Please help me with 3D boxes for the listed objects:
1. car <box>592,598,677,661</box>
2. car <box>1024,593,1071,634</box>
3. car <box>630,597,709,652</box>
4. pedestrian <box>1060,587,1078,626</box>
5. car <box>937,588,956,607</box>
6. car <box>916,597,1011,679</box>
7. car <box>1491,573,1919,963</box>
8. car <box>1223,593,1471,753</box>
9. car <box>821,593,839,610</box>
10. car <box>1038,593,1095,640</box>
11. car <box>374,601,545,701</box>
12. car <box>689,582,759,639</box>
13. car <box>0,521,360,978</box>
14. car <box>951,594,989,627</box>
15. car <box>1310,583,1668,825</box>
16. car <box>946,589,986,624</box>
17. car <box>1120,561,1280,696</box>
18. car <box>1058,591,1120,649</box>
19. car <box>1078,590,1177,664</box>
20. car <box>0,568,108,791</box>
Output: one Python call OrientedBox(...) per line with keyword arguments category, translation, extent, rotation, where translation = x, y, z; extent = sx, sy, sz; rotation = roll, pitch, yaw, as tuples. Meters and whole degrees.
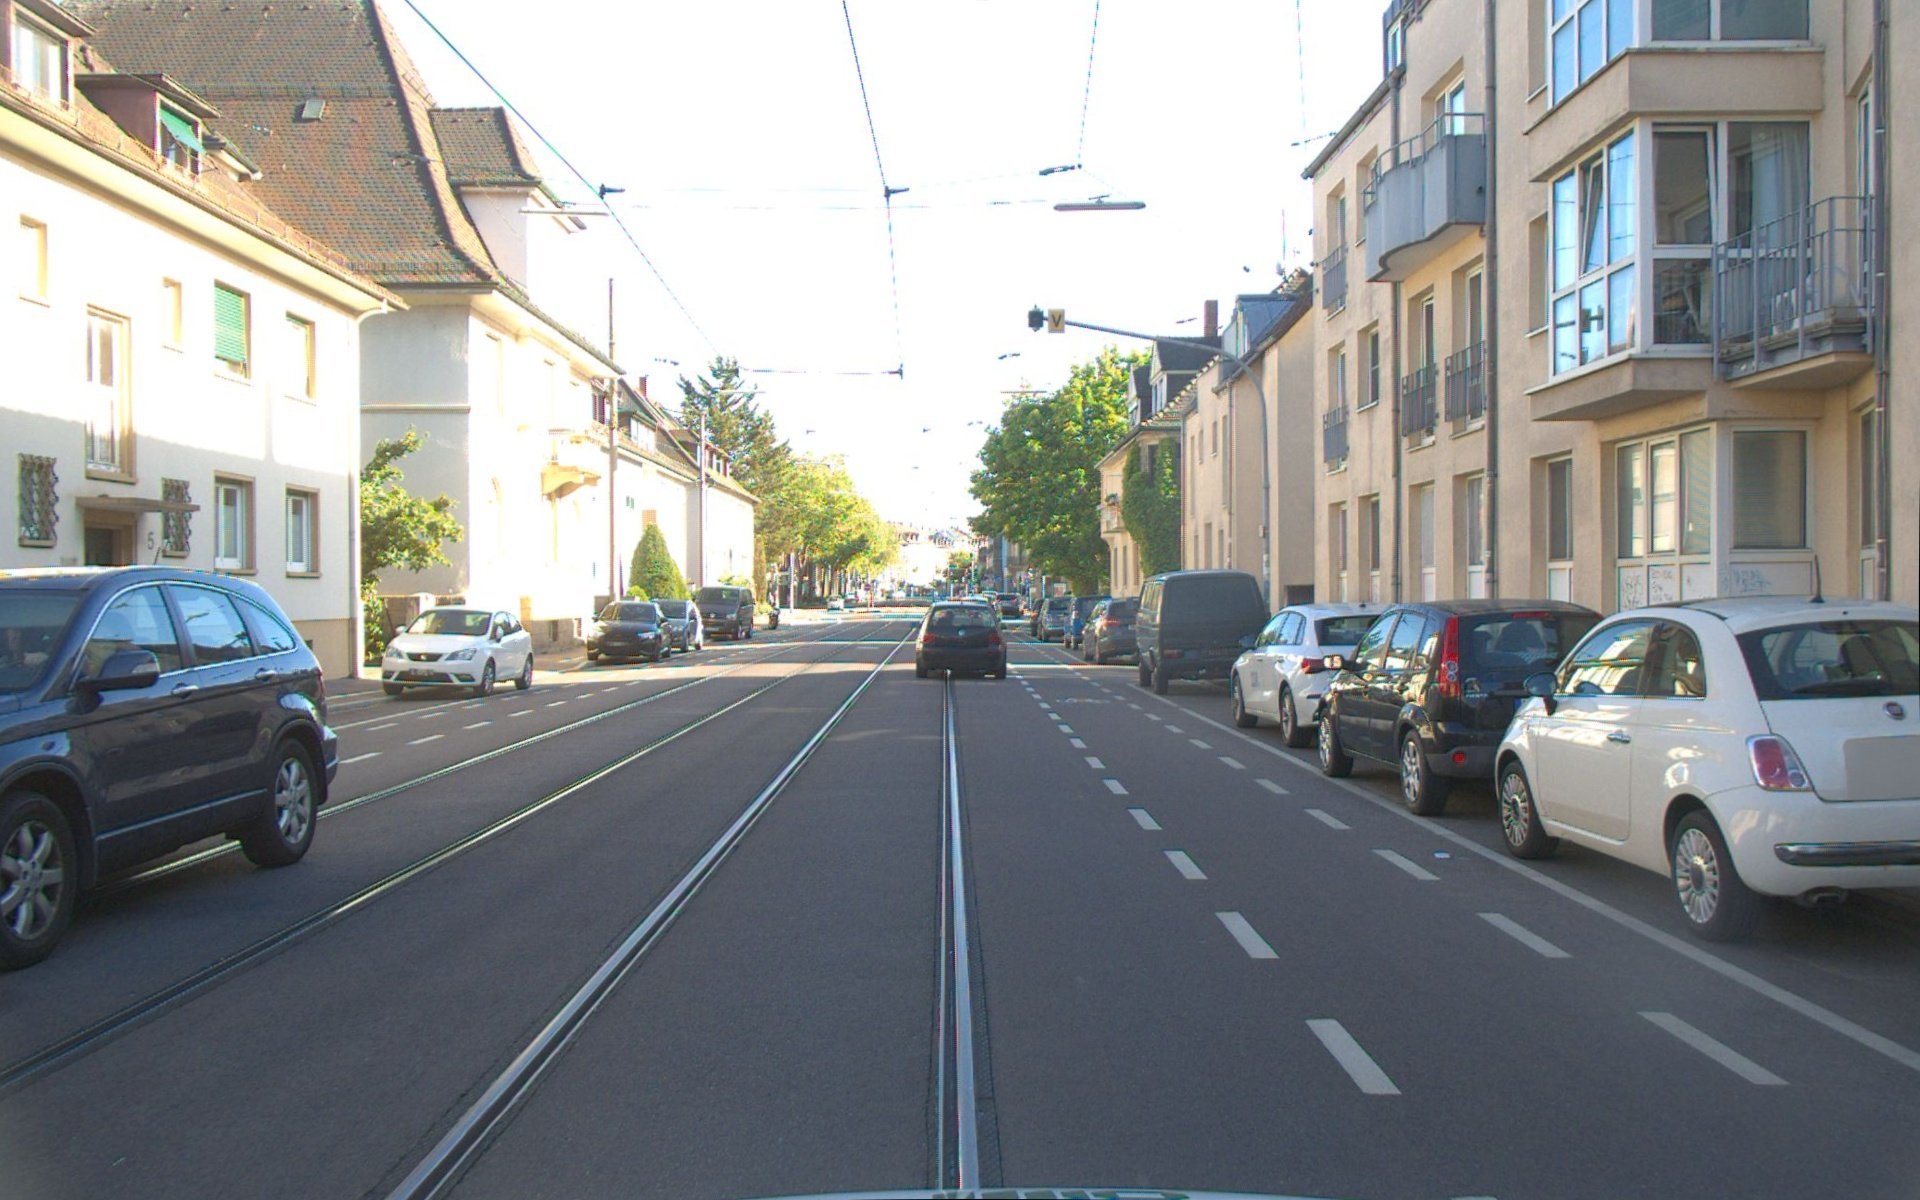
OrientedBox(category="car", translation=(-8.270, 0.714, 42.326), extent=(1.630, 1.503, 4.247), rotation=(0, 0, -4))
OrientedBox(category="car", translation=(3.458, 0.527, 66.173), extent=(1.631, 1.591, 3.770), rotation=(1, 0, 0))
OrientedBox(category="car", translation=(-8.560, 0.688, 49.007), extent=(1.642, 1.503, 3.835), rotation=(1, 0, 0))
OrientedBox(category="pedestrian", translation=(4.808, 0.274, 73.087), extent=(0.703, 1.717, 0.870), rotation=(-1, 0, -2))
OrientedBox(category="car", translation=(-1.400, -0.228, 171.818), extent=(1.751, 1.892, 3.998), rotation=(2, 0, -2))
OrientedBox(category="car", translation=(0.050, 0.675, 31.593), extent=(1.681, 1.427, 4.006), rotation=(1, 0, 0))
OrientedBox(category="car", translation=(4.042, 0.691, 8.478), extent=(1.466, 1.584, 3.364), rotation=(1, 0, -1))
OrientedBox(category="car", translation=(4.094, 0.701, 18.159), extent=(1.643, 1.517, 4.171), rotation=(1, 0, -1))
OrientedBox(category="car", translation=(-11.881, 0.100, 151.043), extent=(1.545, 1.503, 3.436), rotation=(-1, 0, -6))
OrientedBox(category="car", translation=(3.683, 0.555, 57.700), extent=(1.569, 1.552, 3.548), rotation=(1, 0, -2))
OrientedBox(category="car", translation=(-8.215, 0.790, 27.468), extent=(1.598, 1.483, 4.015), rotation=(-2, 0, 0))
OrientedBox(category="car", translation=(-8.927, 0.379, 62.949), extent=(1.867, 2.049, 4.949), rotation=(1, 0, 1))
OrientedBox(category="car", translation=(-4.506, 0.590, 7.899), extent=(1.669, 1.734, 4.363), rotation=(-2, 0, 0))
OrientedBox(category="car", translation=(0.457, 0.475, 77.110), extent=(1.704, 1.466, 3.809), rotation=(0, 0, 0))
OrientedBox(category="car", translation=(3.922, 0.683, 12.877), extent=(1.522, 1.584, 3.651), rotation=(1, 0, -1))
OrientedBox(category="car", translation=(0.243, 0.252, 67.695), extent=(1.601, 1.396, 3.757), rotation=(-1, 0, 0))
OrientedBox(category="car", translation=(3.893, 0.421, 27.550), extent=(1.867, 2.022, 4.562), rotation=(1, 0, -1))
OrientedBox(category="car", translation=(3.806, 0.560, 49.088), extent=(1.428, 1.627, 3.292), rotation=(1, 0, -2))
OrientedBox(category="car", translation=(3.910, 0.588, 39.345), extent=(1.709, 1.627, 4.432), rotation=(1, 0, -2))
OrientedBox(category="car", translation=(-8.336, 0.647, 12.252), extent=(1.726, 1.734, 4.554), rotation=(-2, 0, -1))
